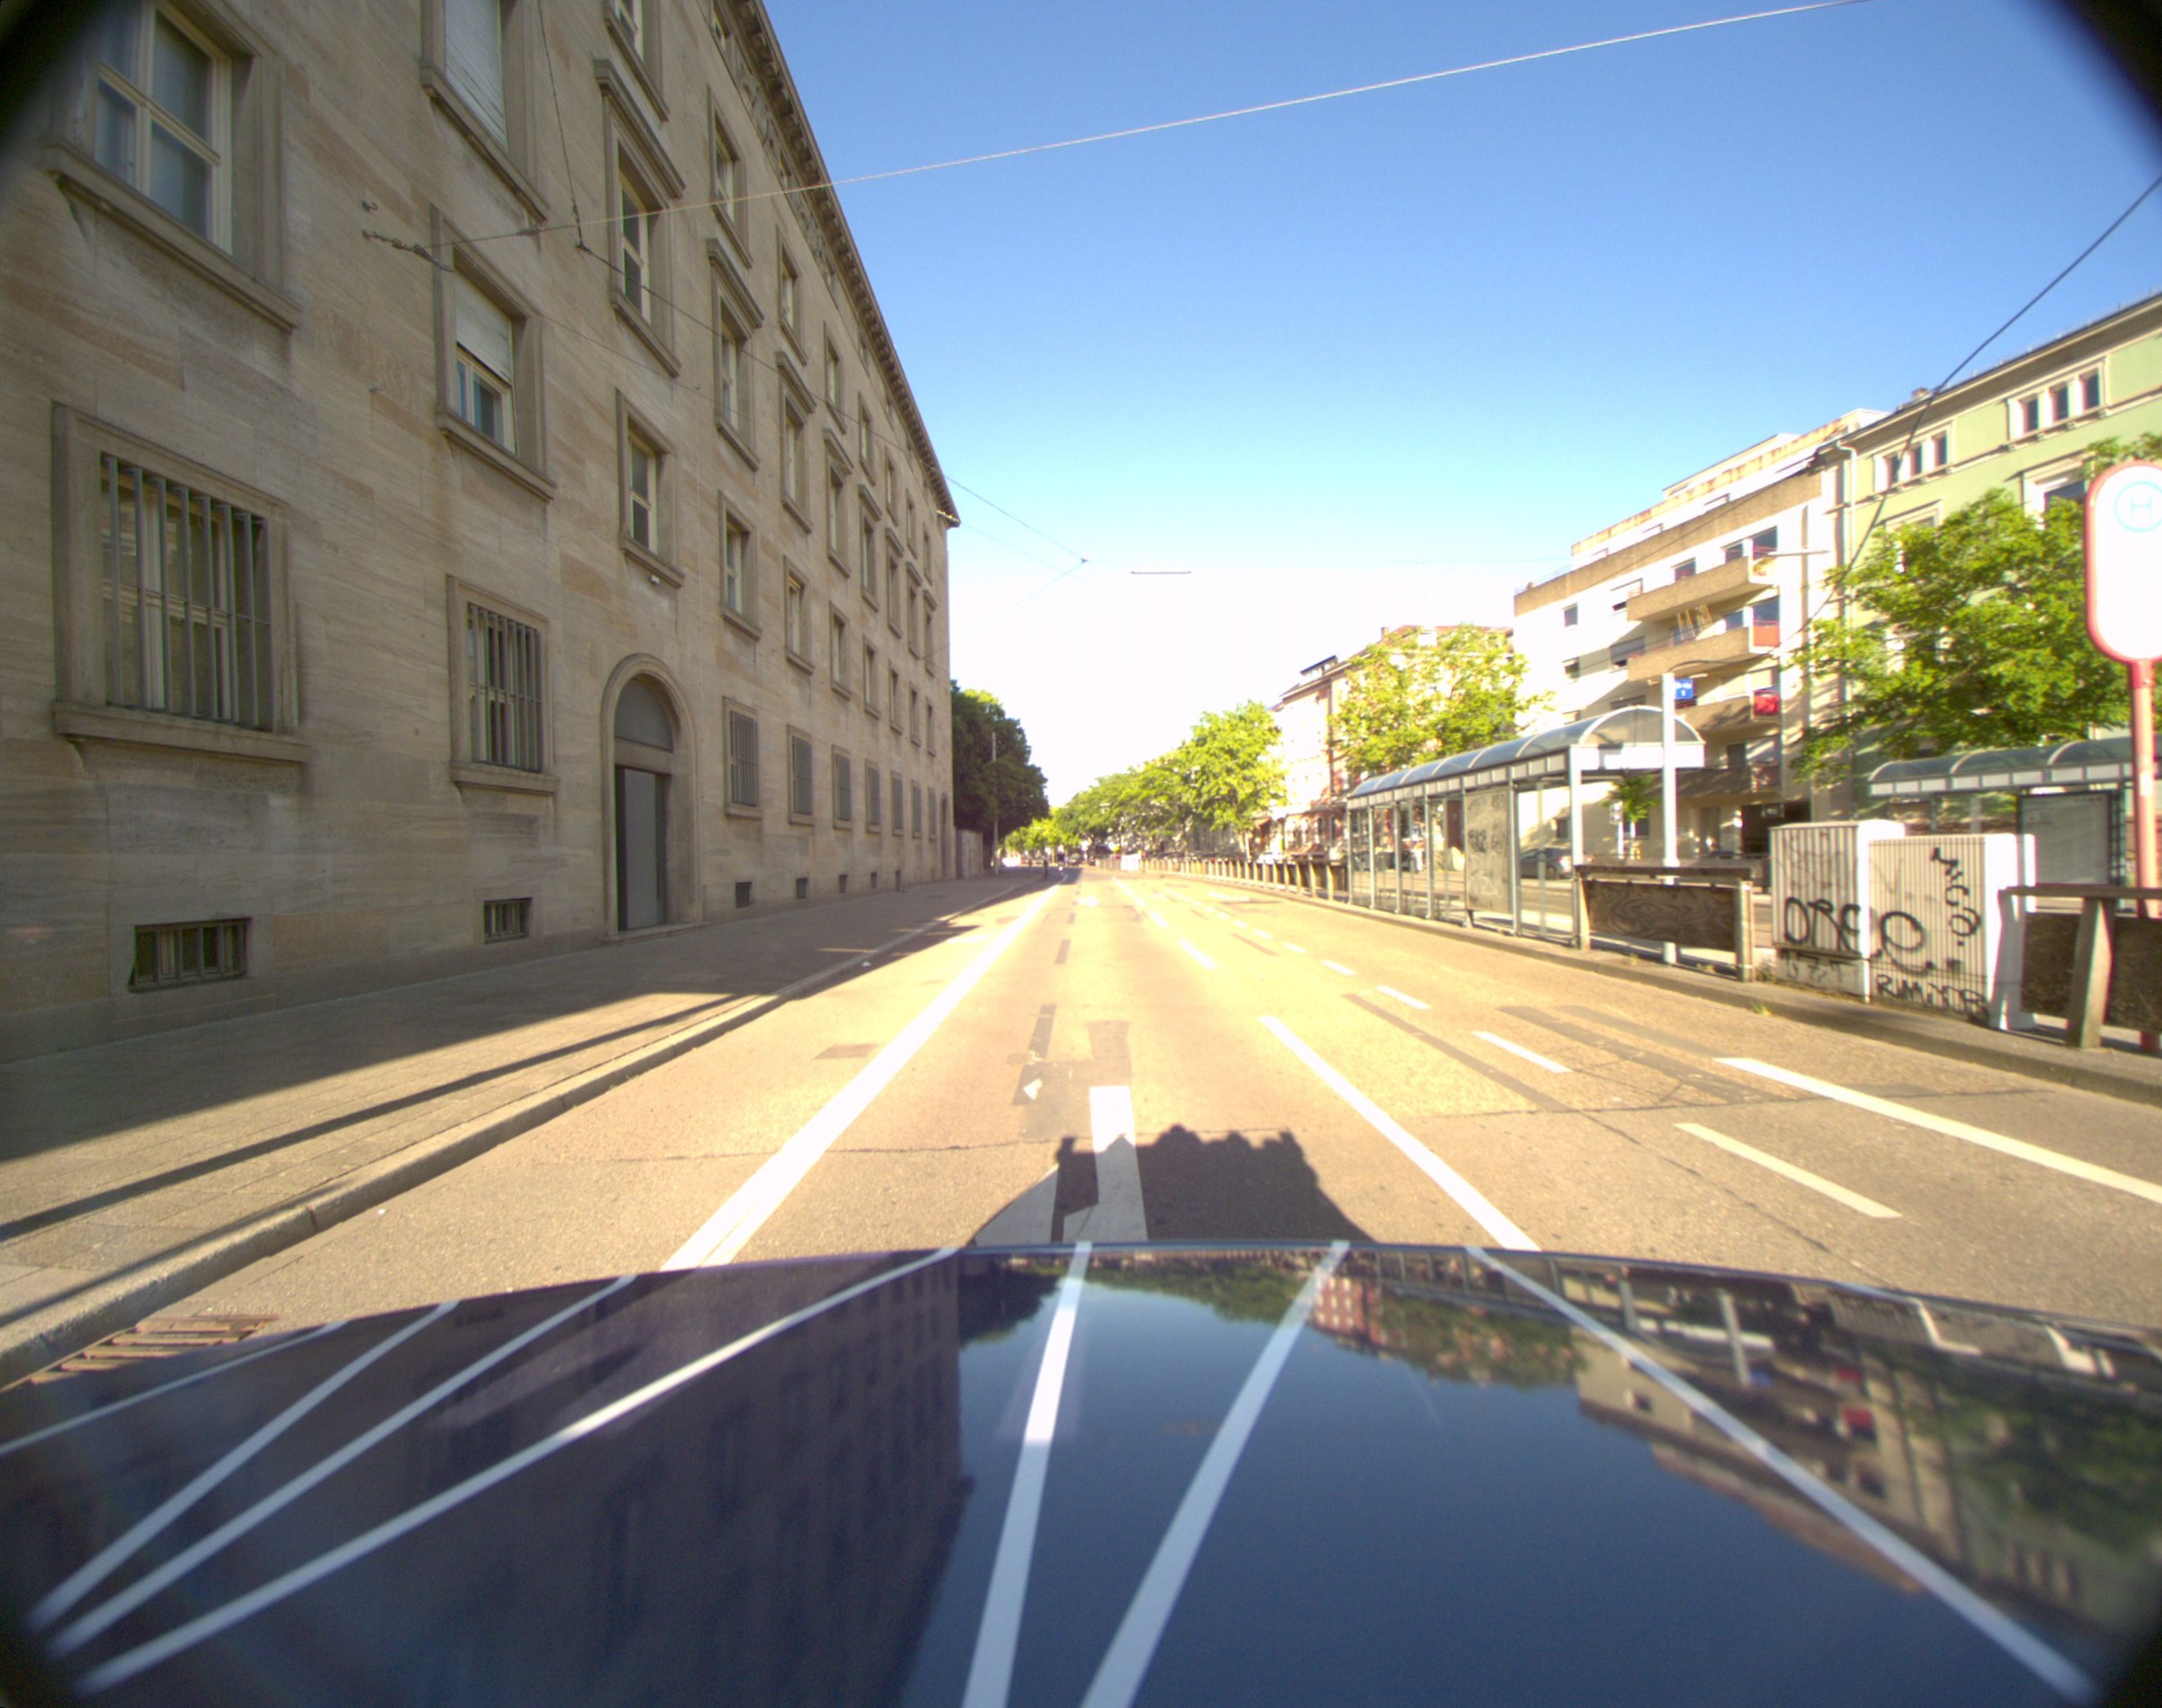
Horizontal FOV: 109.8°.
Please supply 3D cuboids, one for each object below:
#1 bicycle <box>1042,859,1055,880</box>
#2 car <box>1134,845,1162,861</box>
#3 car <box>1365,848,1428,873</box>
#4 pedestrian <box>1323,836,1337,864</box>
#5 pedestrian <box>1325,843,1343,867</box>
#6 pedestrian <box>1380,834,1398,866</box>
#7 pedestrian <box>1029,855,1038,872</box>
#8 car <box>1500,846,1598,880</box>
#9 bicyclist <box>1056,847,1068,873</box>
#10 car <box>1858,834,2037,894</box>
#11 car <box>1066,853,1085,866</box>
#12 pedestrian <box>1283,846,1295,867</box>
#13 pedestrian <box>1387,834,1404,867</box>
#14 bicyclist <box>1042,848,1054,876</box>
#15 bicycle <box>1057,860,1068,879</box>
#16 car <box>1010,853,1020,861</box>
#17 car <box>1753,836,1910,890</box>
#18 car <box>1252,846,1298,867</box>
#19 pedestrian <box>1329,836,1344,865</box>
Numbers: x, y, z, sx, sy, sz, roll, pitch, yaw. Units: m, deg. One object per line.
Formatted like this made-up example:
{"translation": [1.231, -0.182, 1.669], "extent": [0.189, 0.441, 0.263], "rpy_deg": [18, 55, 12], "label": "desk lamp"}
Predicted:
{"translation": [-2.032, 0.955, 47.929], "extent": [0.625, 1.214, 1.659], "rpy_deg": [-3, 1, 1], "label": "bicycle"}
{"translation": [6.820, -0.125, 77.868], "extent": [1.648, 1.480, 3.995], "rpy_deg": [-2, 1, -12], "label": "car"}
{"translation": [18.470, 0.371, 44.662], "extent": [1.609, 1.388, 3.997], "rpy_deg": [-1, 0, -9], "label": "car"}
{"translation": [19.431, -0.308, 59.231], "extent": [0.812, 2.194, 0.756], "rpy_deg": [-1, 1, -4], "label": "pedestrian"}
{"translation": [18.426, 0.046, 55.367], "extent": [0.855, 1.710, 1.019], "rpy_deg": [-1, 1, -9], "label": "pedestrian"}
{"translation": [21.226, -0.301, 52.380], "extent": [0.813, 2.194, 0.756], "rpy_deg": [-1, 1, -10], "label": "pedestrian"}
{"translation": [-3.673, 0.745, 58.901], "extent": [0.548, 1.327, 0.587], "rpy_deg": [-1, 1, 7], "label": "pedestrian"}
{"translation": [20.893, 0.367, 34.116], "extent": [1.654, 1.419, 3.737], "rpy_deg": [-1, 0, -11], "label": "car"}
{"translation": [-1.158, 0.359, 46.862], "extent": [0.728, 1.570, 0.775], "rpy_deg": [0, 1, 1], "label": "bicyclist"}
{"translation": [24.795, 0.258, 21.781], "extent": [4.002, 1.573, 1.761], "rpy_deg": [-1, 0, -14], "label": "car"}
{"translation": [-0.834, 0.826, 112.858], "extent": [2.001, 1.789, 3.995], "rpy_deg": [-1, 0, -13], "label": "car"}
{"translation": [16.797, 0.206, 61.232], "extent": [0.867, 1.619, 0.892], "rpy_deg": [-1, 1, 12], "label": "pedestrian"}
{"translation": [21.251, -0.238, 51.358], "extent": [0.813, 2.194, 0.756], "rpy_deg": [-1, 1, -10], "label": "pedestrian"}
{"translation": [-2.054, 0.505, 47.974], "extent": [0.625, 1.729, 0.688], "rpy_deg": [-3, 1, 1], "label": "bicyclist"}
{"translation": [-1.162, 0.936, 46.967], "extent": [0.625, 1.167, 1.566], "rpy_deg": [0, 0, 1], "label": "bicycle"}
{"translation": [-11.902, 0.548, 136.797], "extent": [1.772, 1.429, 3.831], "rpy_deg": [-1, 0, -7], "label": "car"}
{"translation": [23.996, 0.260, 24.322], "extent": [4.002, 1.573, 1.761], "rpy_deg": [-1, 0, -14], "label": "car"}
{"translation": [16.248, 0.169, 63.622], "extent": [4.134, 1.698, 1.848], "rpy_deg": [-1, 1, -45], "label": "car"}
{"translation": [19.404, -0.289, 57.666], "extent": [0.813, 2.194, 0.756], "rpy_deg": [-1, 1, -10], "label": "pedestrian"}
